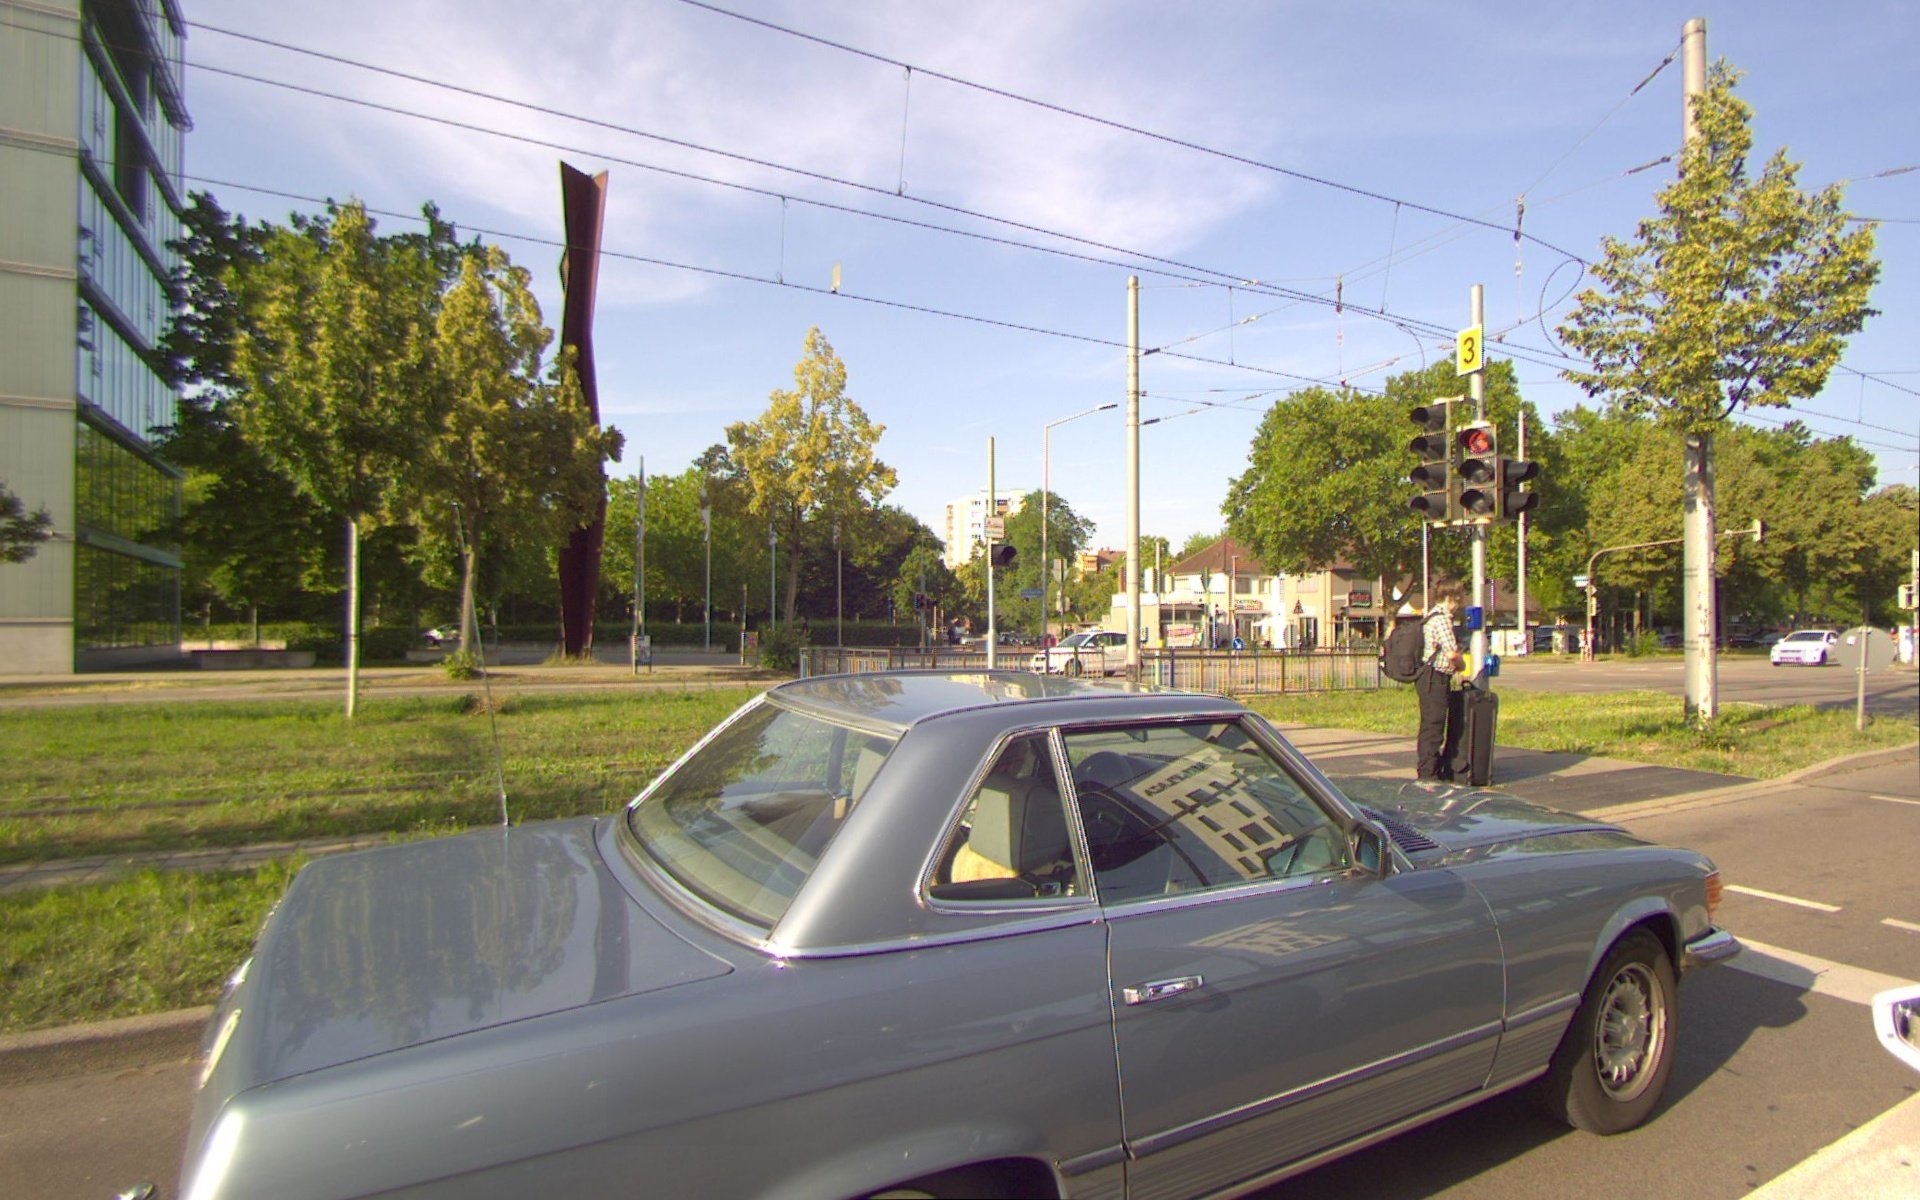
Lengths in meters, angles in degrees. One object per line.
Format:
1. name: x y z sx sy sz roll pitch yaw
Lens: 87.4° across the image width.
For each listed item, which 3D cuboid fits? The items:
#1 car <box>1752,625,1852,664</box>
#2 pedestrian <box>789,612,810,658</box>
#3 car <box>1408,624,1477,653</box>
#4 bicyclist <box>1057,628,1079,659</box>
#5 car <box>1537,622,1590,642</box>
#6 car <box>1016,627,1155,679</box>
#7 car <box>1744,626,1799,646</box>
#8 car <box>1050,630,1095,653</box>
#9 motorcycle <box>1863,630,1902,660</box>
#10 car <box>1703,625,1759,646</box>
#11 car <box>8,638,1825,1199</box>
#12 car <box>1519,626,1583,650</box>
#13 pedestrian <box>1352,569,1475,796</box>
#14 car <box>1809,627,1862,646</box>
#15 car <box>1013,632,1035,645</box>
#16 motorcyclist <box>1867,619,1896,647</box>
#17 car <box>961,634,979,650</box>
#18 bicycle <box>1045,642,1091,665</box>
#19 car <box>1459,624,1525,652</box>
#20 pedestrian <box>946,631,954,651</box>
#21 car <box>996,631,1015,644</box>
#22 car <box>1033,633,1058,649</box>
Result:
1. car: 35.308 1.884 42.122 4.045 1.523 1.984 2 -3 -30
2. pedestrian: -7.711 1.688 48.207 0.864 2.135 0.724 -1 -3 0
3. car: 30.620 2.433 63.750 3.945 1.773 1.876 1 -2 -25
4. bicyclist: 5.221 2.091 48.435 0.837 1.512 0.697 -1 -1 38
5. car: 49.344 2.644 82.127 3.945 1.580 1.876 1 -2 -25
6. car: 4.049 1.653 32.283 4.173 1.548 1.869 0 -1 -30
7. car: 65.071 2.884 80.584 3.945 1.580 1.876 1 -2 -25
8. car: 8.919 3.275 79.937 1.971 1.750 3.979 1 -1 -22
9. motorcycle: 42.363 2.052 46.116 2.524 1.280 0.813 1 0 -36
10. car: 60.079 2.759 78.243 3.945 1.580 1.876 1 -2 -25
11. car: 0.480 0.850 2.881 4.349 1.348 1.755 0 1 -31
12. car: 40.247 2.605 68.407 3.945 1.580 1.876 1 -2 -25
13. pedestrian: 3.820 0.662 8.476 0.627 1.816 0.696 1 0 -29
14. car: 73.598 3.082 84.452 3.945 1.580 1.876 1 -2 -25
15. car: 7.158 4.305 112.532 1.667 1.491 3.941 0 -1 -7
16. motorcyclist: 42.218 1.514 46.019 0.839 1.219 0.777 0 1 -34
17. car: 1.161 4.749 114.354 1.961 1.806 4.000 0 -1 -1
18. bicycle: 5.208 2.558 48.433 2.168 1.055 0.697 -1 -2 38
19. car: 34.851 2.466 65.811 3.945 1.773 1.876 1 -2 -25
20. pedestrian: -0.787 3.297 80.958 0.654 1.654 0.664 0 -1 -2
21. car: 5.577 4.630 124.156 1.667 1.491 3.941 0 -1 -7
22. car: 8.591 4.095 101.013 1.667 1.491 3.941 0 -1 -7
